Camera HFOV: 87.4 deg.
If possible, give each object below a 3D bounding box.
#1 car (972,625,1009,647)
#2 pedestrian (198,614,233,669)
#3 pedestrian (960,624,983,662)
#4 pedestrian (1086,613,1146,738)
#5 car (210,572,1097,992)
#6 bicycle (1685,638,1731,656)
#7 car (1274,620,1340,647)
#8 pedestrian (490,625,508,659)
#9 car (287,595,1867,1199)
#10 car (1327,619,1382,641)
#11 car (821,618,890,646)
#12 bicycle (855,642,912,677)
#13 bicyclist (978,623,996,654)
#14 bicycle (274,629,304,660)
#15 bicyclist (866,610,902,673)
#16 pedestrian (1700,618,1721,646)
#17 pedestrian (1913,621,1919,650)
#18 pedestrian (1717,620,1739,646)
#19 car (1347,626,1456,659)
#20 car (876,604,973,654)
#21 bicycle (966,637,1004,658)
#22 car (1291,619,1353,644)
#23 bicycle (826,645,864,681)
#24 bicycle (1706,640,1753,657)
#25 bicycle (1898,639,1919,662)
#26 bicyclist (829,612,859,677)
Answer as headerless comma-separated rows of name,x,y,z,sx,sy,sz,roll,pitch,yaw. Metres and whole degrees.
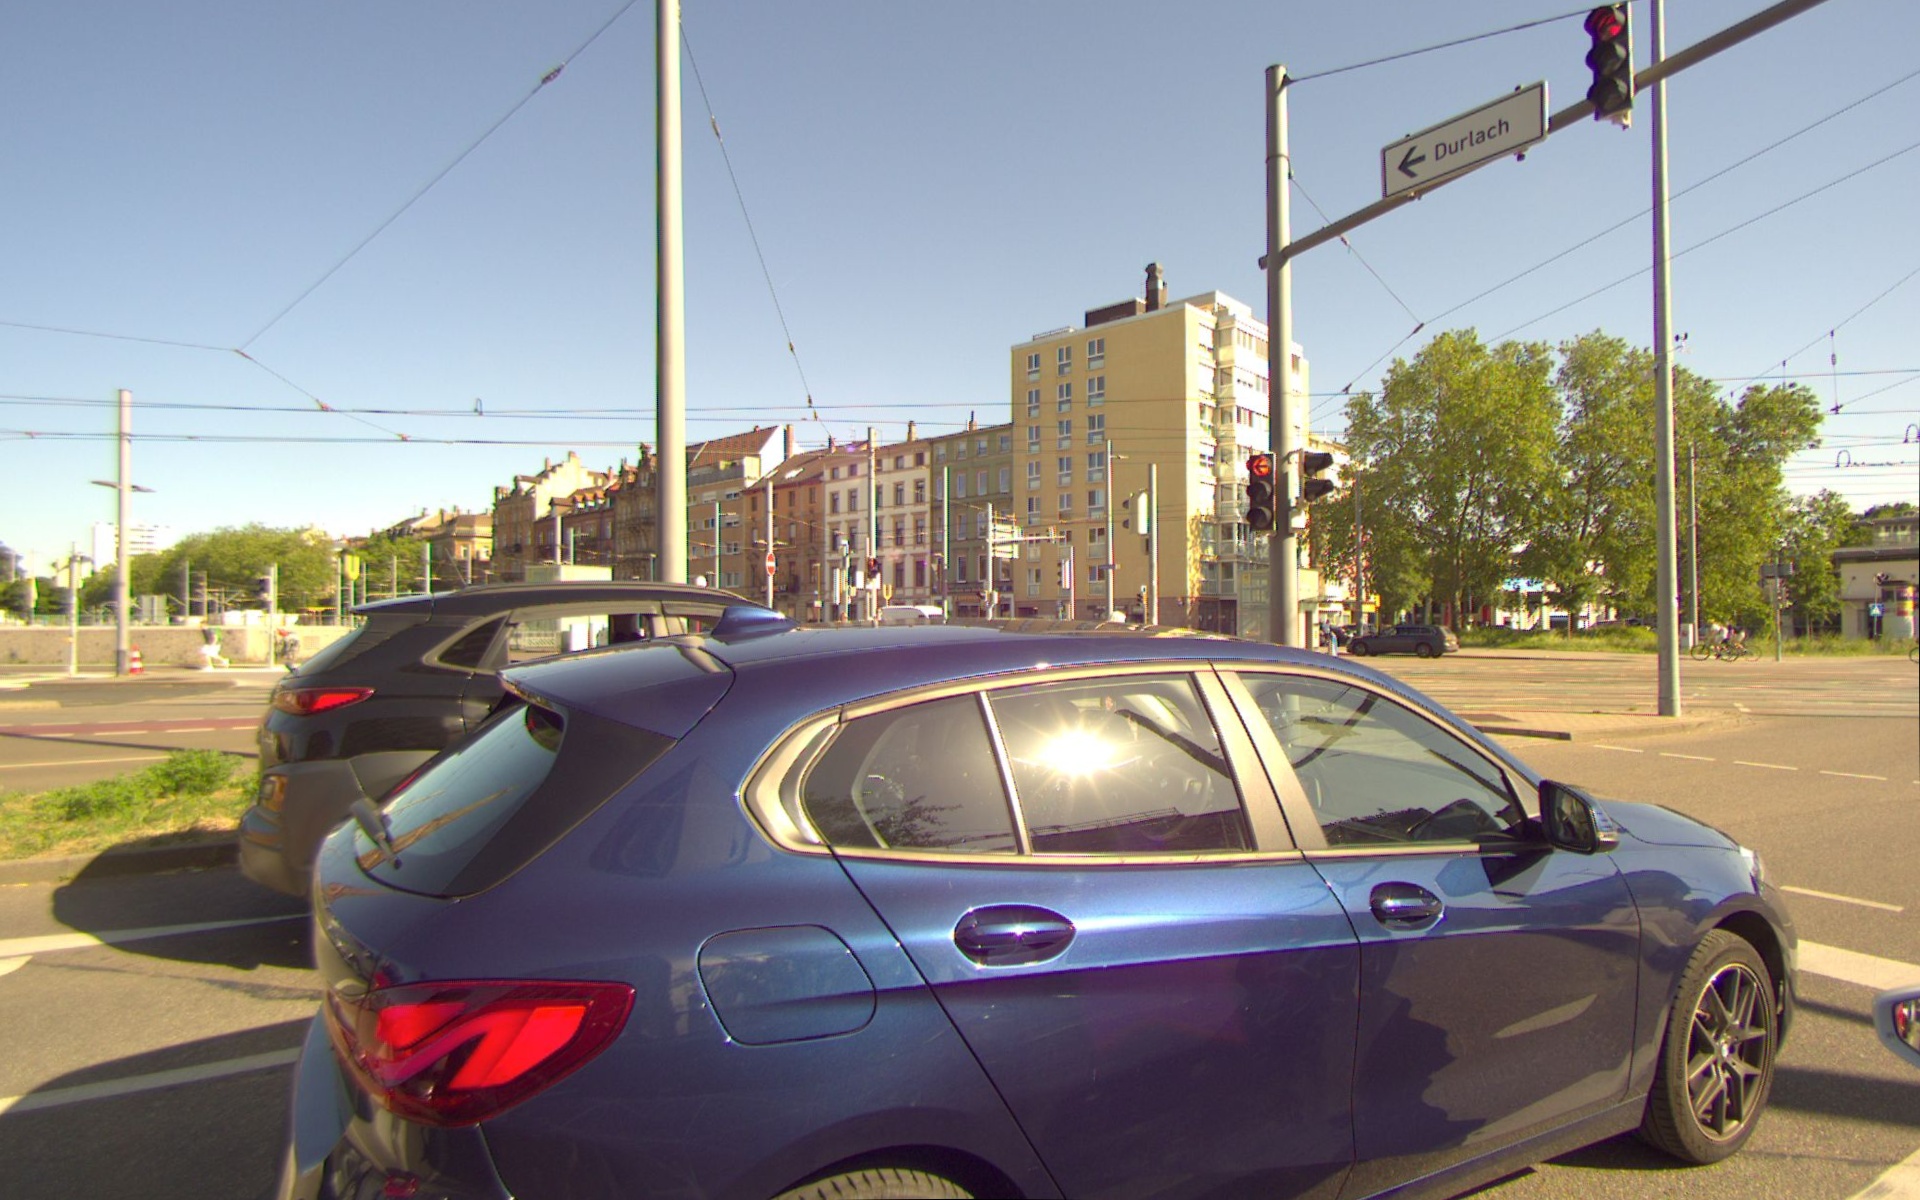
car,2.028,2.395,67.327,1.745,1.446,3.873,0,-1,-10
pedestrian,-25.820,1.425,34.864,0.872,1.879,0.683,1,-1,-30
pedestrian,0.495,1.848,43.475,0.669,1.593,0.740,1,-2,-44
pedestrian,1.998,0.962,12.900,0.746,1.575,0.358,0,-1,9
car,-1.392,0.699,5.395,3.959,1.537,1.751,1,-1,-28
bicycle,32.842,2.041,44.102,1.609,0.769,0.422,-1,-2,38
car,22.117,2.109,64.028,3.691,1.684,1.586,-1,-2,42
pedestrian,-24.295,2.202,52.940,0.672,1.735,0.793,1,-1,-38
car,0.598,0.761,2.823,3.983,1.464,1.703,1,0,-29
car,30.428,2.320,77.524,3.691,1.684,1.586,-1,-2,42
car,-6.497,1.988,62.367,4.244,1.675,1.849,-1,-2,40
bicycle,-2.074,1.579,26.983,0.672,0.890,1.880,1,-2,-35
bicyclist,1.255,1.782,46.615,0.609,1.462,0.614,1,-1,-30
bicycle,-26.476,1.749,39.656,0.461,1.189,1.252,0,-1,-6
bicyclist,-2.053,1.104,26.959,0.672,1.676,0.777,1,-1,-35
pedestrian,32.913,1.394,44.053,0.738,1.220,0.422,-1,-1,38
pedestrian,40.282,1.477,41.890,0.785,1.220,0.557,-1,-2,43
pedestrian,34.202,1.460,44.716,0.739,1.142,0.422,-1,-1,41
car,19.879,1.870,45.281,4.163,1.419,1.849,-1,-2,41
car,-1.952,1.533,53.627,5.341,2.541,1.990,-1,-2,42
bicycle,1.168,2.189,46.549,1.666,0.958,0.614,1,-1,-30
car,24.945,2.182,69.217,3.691,1.684,1.586,-1,-2,42
bicycle,-3.046,1.634,26.390,0.667,0.890,1.892,0,-1,-17
bicycle,34.228,2.135,44.681,1.610,0.727,0.422,-1,-2,41
bicycle,40.391,2.113,41.773,1.984,0.925,0.559,-1,-2,44
bicyclist,-3.061,1.163,26.458,0.667,1.676,0.782,0,-1,-16
